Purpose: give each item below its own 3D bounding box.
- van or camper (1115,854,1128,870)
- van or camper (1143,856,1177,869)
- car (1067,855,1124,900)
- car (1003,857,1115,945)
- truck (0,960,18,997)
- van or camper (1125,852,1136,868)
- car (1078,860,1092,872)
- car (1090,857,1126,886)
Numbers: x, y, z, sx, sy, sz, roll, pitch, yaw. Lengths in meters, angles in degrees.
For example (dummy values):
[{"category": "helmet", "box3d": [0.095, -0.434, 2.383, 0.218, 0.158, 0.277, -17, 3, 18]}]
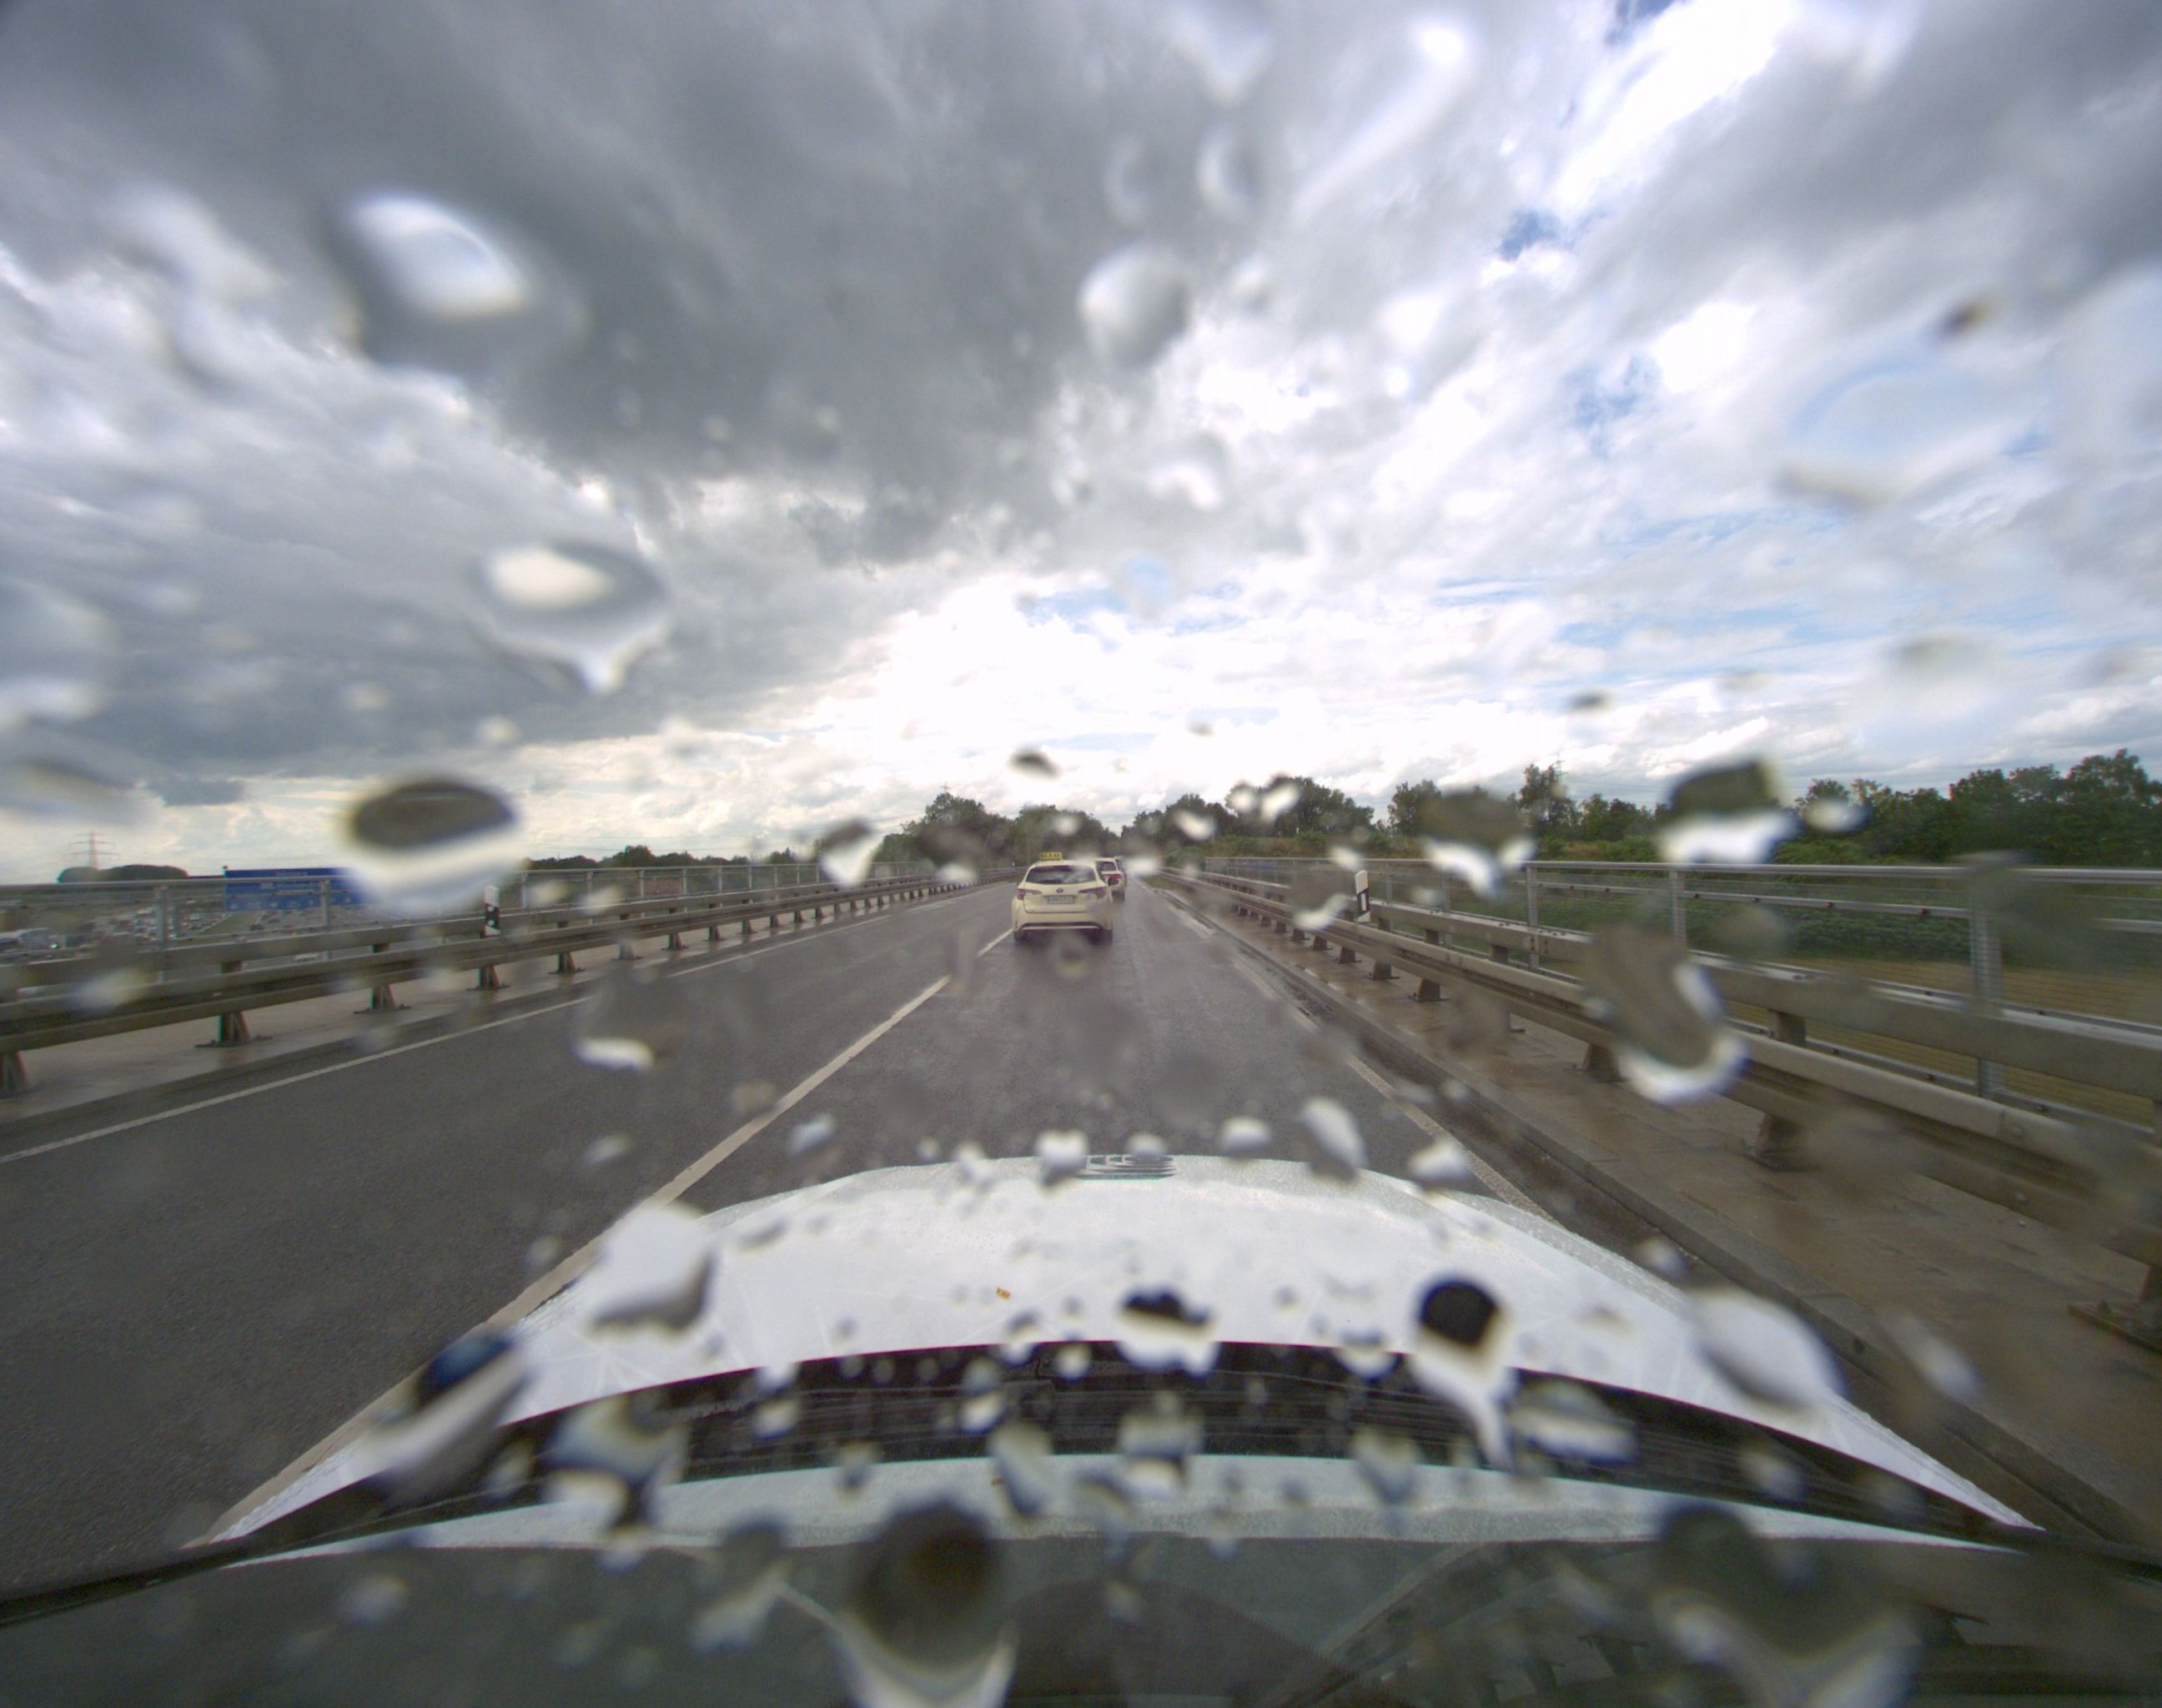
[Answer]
[{"category": "van or camper", "box3d": [7.606, 1.514, 153.180, 2.323, 2.864, 6.312, 0, 0, 3]}, {"category": "van or camper", "box3d": [14.184, 1.519, 146.390, 5.683, 2.241, 2.011, 0, 0, -13]}, {"category": "car", "box3d": [0.564, 0.767, 28.704, 1.847, 1.443, 4.173, 0, 0, 2]}, {"category": "car", "box3d": [-0.292, 0.790, 15.645, 1.847, 1.394, 4.173, 0, 0, 2]}, {"category": "truck", "box3d": [-131.649, 15.253, 98.023, 2.450, 3.762, 11.035, 0, 0, -42]}, {"category": "van or camper", "box3d": [11.069, 1.266, 182.757, 2.323, 3.562, 6.312, 0, 0, 3]}, {"category": "car", "box3d": [0.567, 1.651, 111.786, 1.707, 1.517, 3.861, 0, -1, 2]}, {"category": "car", "box3d": [1.461, 0.897, 44.356, 1.847, 1.443, 4.173, 0, 0, 2]}]
